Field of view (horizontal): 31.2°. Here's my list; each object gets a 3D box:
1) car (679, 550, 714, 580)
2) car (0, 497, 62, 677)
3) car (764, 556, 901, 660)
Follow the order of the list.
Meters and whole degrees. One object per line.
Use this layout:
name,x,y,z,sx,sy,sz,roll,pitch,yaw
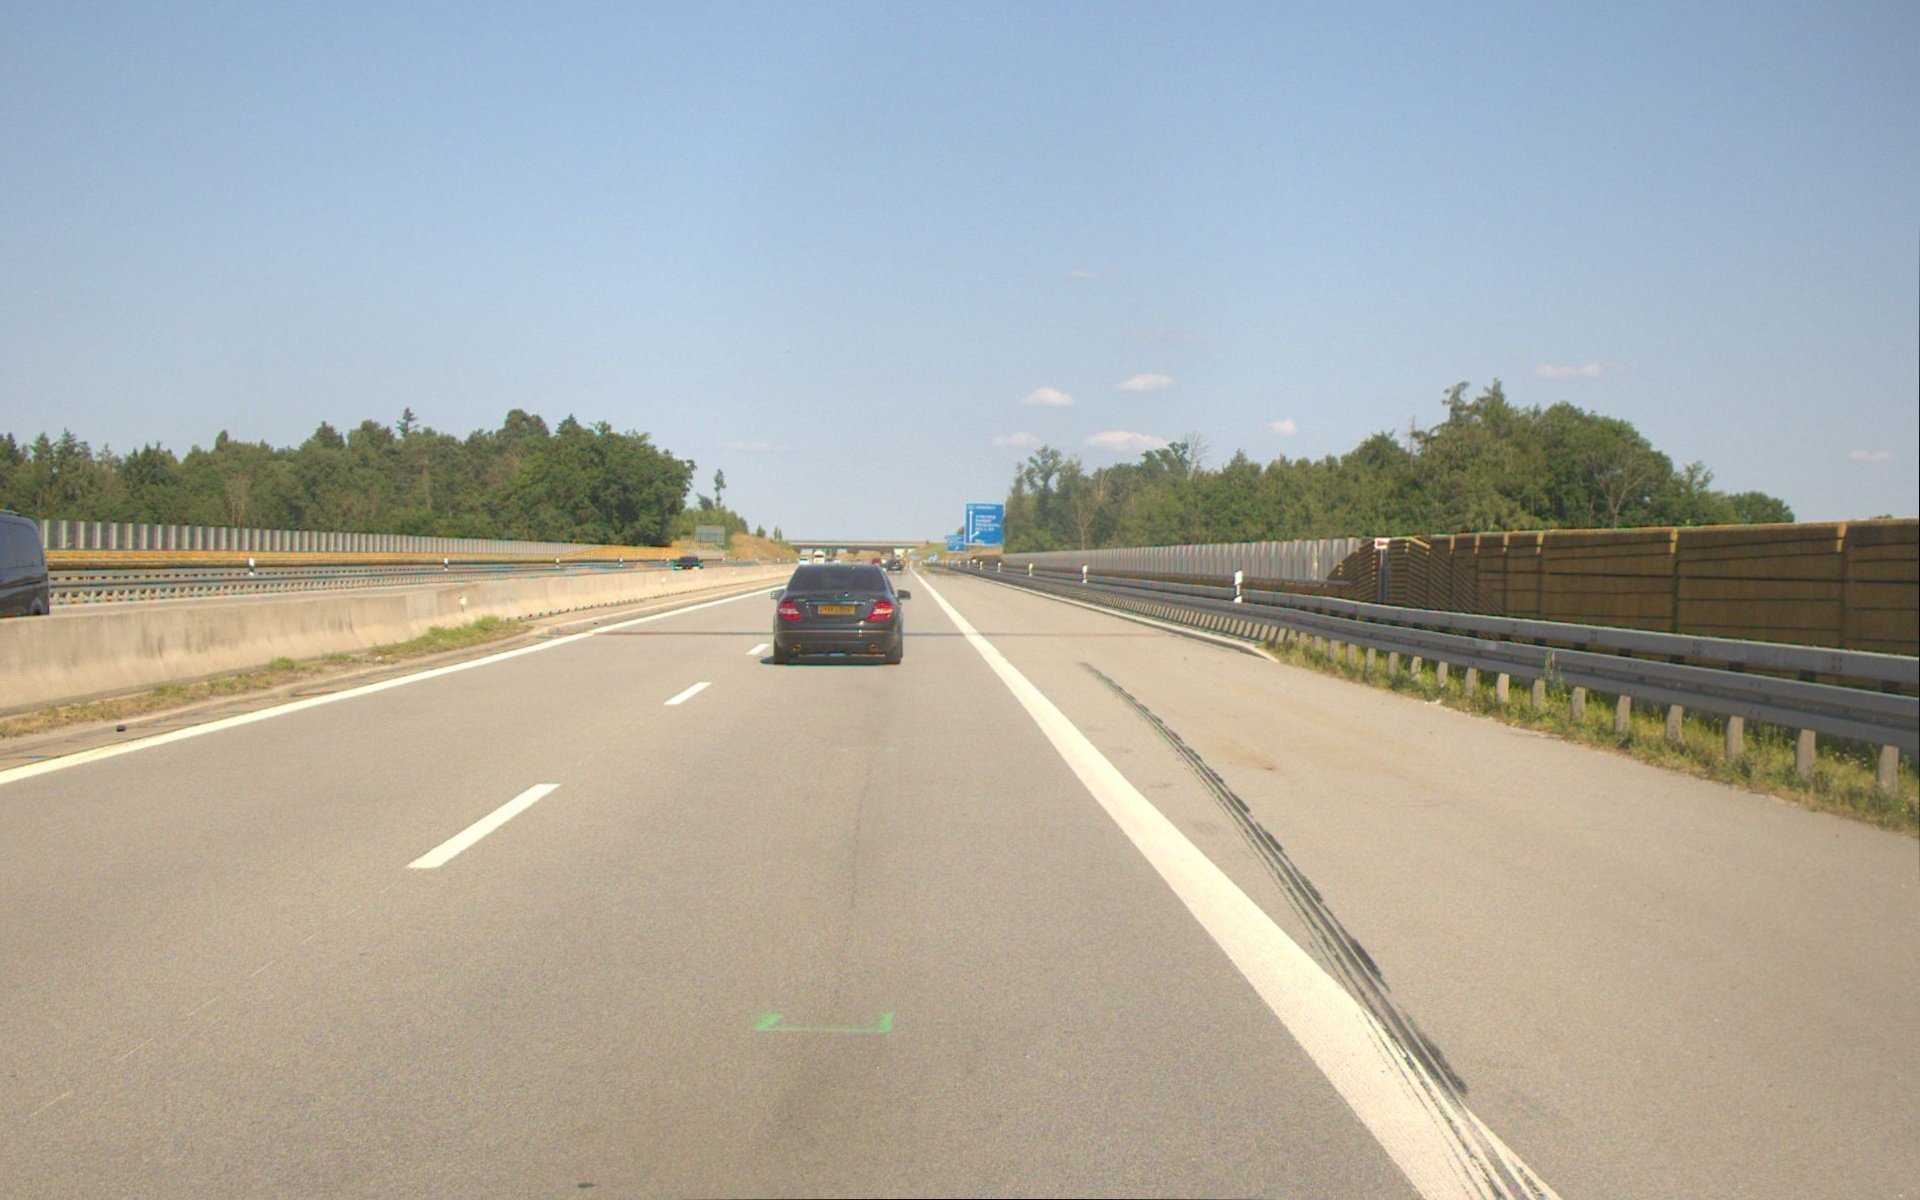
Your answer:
car,-18.034,-2.417,235.830,1.993,2.007,4.761,0,1,0
car,-11.737,-0.153,38.331,1.993,2.007,5.737,0,1,-1
car,-1.748,0.081,48.156,1.790,1.369,3.917,1,1,0
